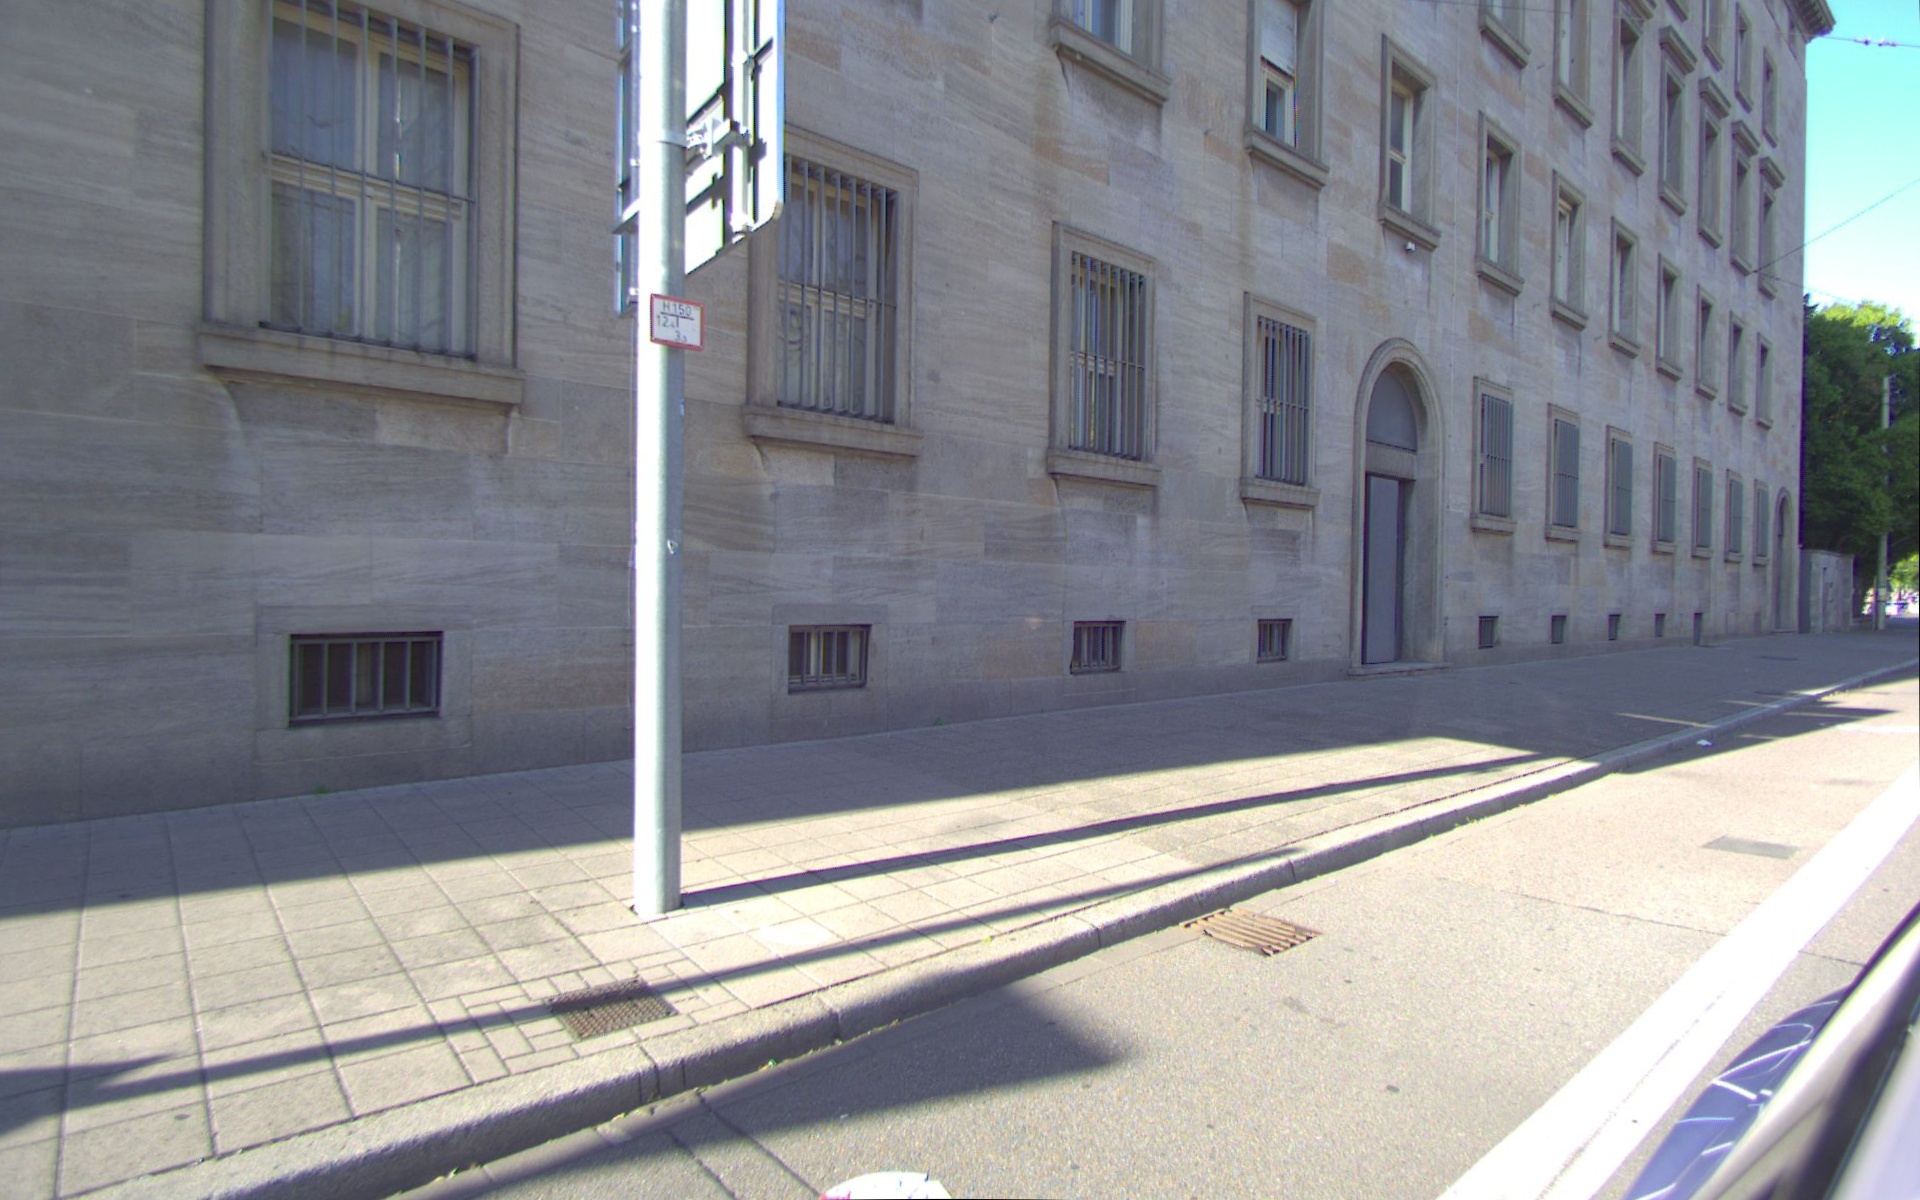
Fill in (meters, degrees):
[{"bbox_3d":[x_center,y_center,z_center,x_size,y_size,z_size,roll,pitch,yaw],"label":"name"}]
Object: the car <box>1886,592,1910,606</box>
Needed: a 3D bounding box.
[{"bbox_3d":[100.415,-0.147,108.336,1.765,1.455,3.777,2,1,41],"label":"car"}]
